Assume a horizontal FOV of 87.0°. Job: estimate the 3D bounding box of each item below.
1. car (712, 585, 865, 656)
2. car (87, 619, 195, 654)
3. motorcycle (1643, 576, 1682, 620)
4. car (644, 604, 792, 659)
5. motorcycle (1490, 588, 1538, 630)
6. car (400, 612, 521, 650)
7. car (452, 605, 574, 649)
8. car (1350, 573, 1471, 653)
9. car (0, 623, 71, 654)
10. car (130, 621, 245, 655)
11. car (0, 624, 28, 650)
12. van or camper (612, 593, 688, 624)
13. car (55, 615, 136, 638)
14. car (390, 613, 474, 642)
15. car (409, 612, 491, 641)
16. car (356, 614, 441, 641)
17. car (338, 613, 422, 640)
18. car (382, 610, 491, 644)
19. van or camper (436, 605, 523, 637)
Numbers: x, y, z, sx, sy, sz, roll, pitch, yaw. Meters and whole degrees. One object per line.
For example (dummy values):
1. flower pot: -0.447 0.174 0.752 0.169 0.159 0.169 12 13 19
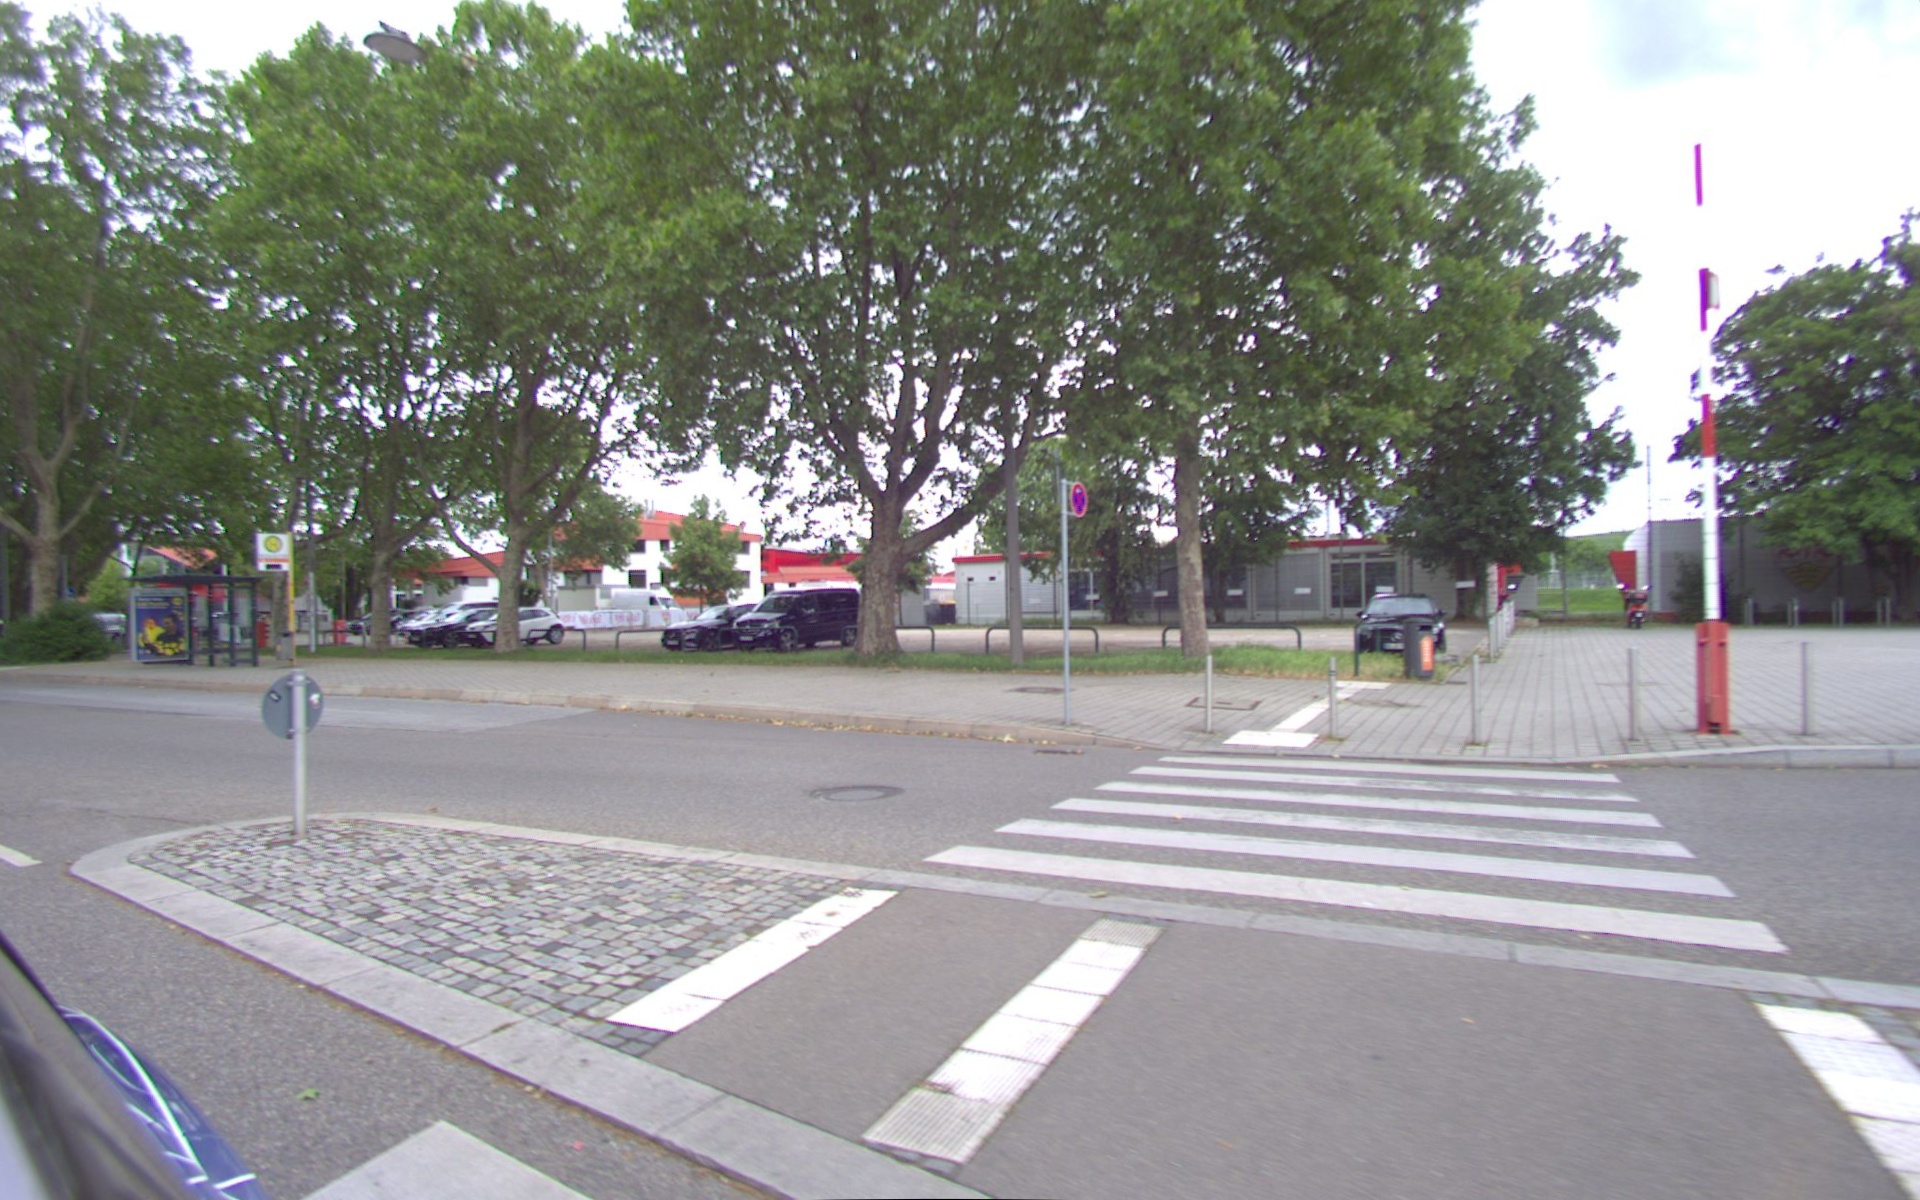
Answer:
1. car: -5.369 0.599 32.181 2.256 2.041 4.579 -1 0 34
2. car: -46.469 2.050 57.484 2.124 1.722 4.290 -1 0 30
3. motorcycle: 20.932 -0.079 30.108 0.772 1.231 3.626 -1 0 37
4. car: -7.950 0.976 33.603 2.103 1.579 4.588 0 1 33
5. motorcycle: 17.686 0.251 32.262 0.772 1.231 3.626 -1 0 37
6. car: -20.199 1.227 41.055 1.994 1.334 3.959 -1 0 31
7. car: -17.626 1.036 40.054 1.995 1.534 3.957 -1 0 32
8. car: 9.931 0.288 22.505 2.218 1.617 3.970 -1 -1 23
9. car: -63.000 2.582 68.118 2.020 1.875 4.290 -1 0 30
10. car: -40.558 1.973 53.234 2.195 1.560 4.290 -1 0 30
11. car: -69.485 2.711 71.513 2.174 1.810 4.909 -2 -1 29
12. van or camper: -21.548 0.584 70.239 5.283 2.029 1.979 -1 0 31
13. car: -75.744 2.279 88.729 2.174 1.810 4.909 -1 0 29
14. car: -32.746 1.689 62.881 1.951 1.560 4.290 -1 0 30
15. car: -30.921 1.600 61.454 1.783 1.560 4.189 -1 0 30
16. car: -35.236 1.712 63.636 1.951 1.560 4.290 -1 0 30
17. car: -37.168 1.682 64.919 1.951 1.560 4.290 -1 0 30
18. car: -27.296 1.378 52.782 4.894 1.563 2.106 -2 0 -32
19. van or camper: -28.684 1.245 60.533 2.124 1.722 4.290 -1 0 30
